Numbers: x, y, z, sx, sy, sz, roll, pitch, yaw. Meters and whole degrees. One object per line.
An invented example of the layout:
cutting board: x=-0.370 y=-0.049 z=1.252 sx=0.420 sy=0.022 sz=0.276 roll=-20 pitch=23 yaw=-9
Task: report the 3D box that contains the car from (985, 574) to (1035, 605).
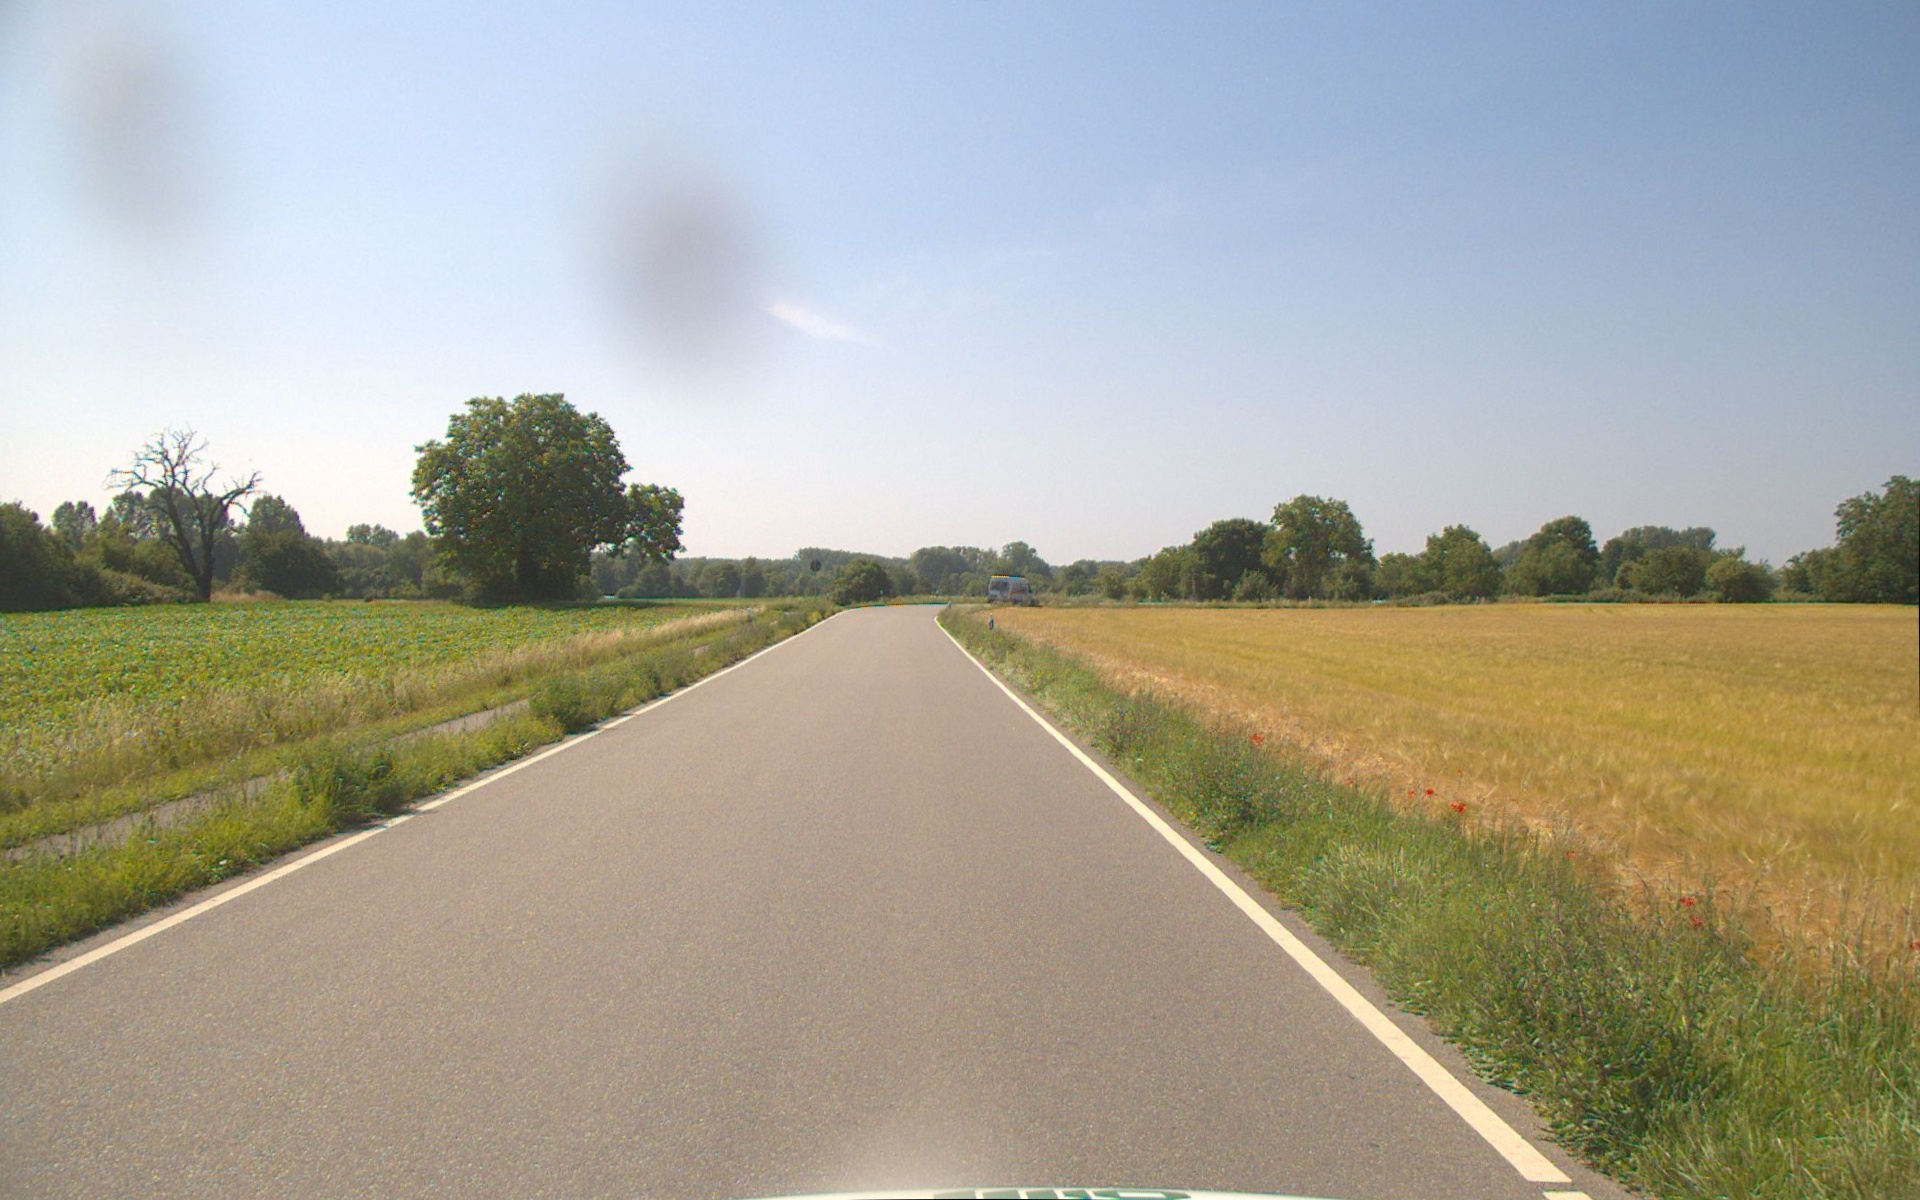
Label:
car: x=4.005 y=-0.871 z=132.212 sx=2.061 sy=2.408 sz=5.685 roll=0 pitch=1 yaw=23
